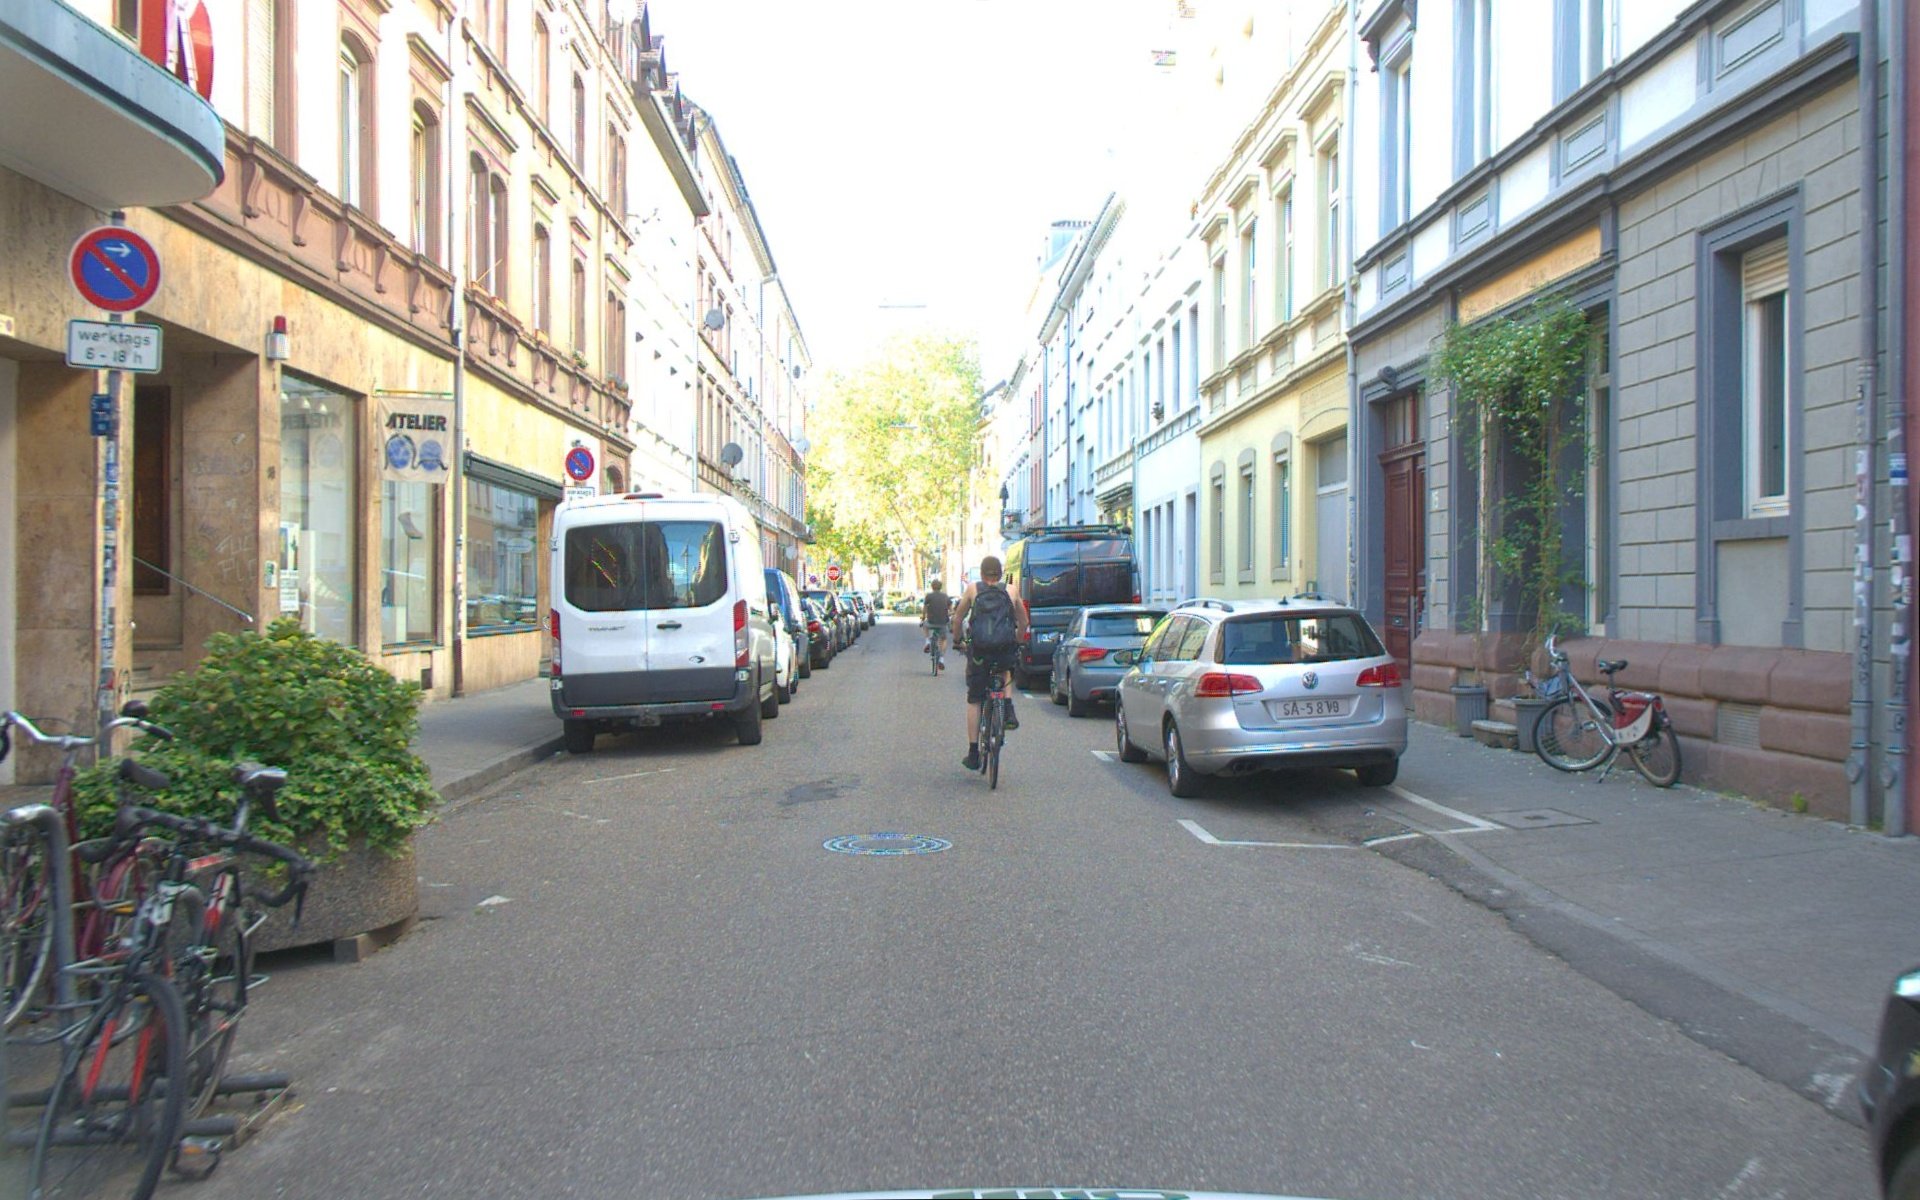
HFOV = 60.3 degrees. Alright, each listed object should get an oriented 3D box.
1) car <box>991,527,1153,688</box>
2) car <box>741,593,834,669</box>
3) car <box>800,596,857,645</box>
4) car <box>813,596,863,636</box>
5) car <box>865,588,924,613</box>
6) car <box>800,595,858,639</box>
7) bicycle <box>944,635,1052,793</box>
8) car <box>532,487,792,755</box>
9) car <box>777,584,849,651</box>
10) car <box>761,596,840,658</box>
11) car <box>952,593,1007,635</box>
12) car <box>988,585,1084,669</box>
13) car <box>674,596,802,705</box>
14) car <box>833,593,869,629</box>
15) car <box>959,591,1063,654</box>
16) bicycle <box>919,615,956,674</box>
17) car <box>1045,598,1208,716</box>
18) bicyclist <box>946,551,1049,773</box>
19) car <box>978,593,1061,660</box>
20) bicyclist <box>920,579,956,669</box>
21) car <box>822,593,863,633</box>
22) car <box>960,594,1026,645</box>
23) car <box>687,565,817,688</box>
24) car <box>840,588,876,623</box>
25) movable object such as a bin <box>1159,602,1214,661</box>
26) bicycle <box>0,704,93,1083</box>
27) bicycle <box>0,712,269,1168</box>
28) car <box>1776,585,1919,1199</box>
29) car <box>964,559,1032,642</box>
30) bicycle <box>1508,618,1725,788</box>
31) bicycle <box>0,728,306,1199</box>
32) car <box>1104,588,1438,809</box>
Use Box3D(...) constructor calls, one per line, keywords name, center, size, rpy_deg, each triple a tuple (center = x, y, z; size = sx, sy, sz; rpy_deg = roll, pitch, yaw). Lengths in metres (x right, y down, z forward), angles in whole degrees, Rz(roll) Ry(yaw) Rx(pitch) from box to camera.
Box3D(name="car", center=(1.823, 0.102, 29.168), size=(2.131, 2.467, 6.306), rpy_deg=(-2, 0, -2))
Box3D(name="car", center=(-3.697, 0.622, 36.073), size=(1.825, 1.465, 4.641), rpy_deg=(-1, 1, -4))
Box3D(name="car", center=(-4.117, 0.624, 52.062), size=(1.559, 1.465, 3.653), rpy_deg=(-1, 0, -1))
Box3D(name="car", center=(-4.532, 0.581, 62.086), size=(1.672, 1.438, 4.300), rpy_deg=(-1, 0, -2))
Box3D(name="car", center=(-5.013, 0.041, 125.833), size=(4.383, 1.790, 1.864), rpy_deg=(-1, 0, -7))
Box3D(name="car", center=(-4.478, 0.555, 57.027), size=(1.639, 1.455, 3.888), rpy_deg=(-1, 0, 0))
Box3D(name="bicycle", center=(0.276, 0.872, 13.366), size=(0.725, 1.120, 2.041), rpy_deg=(1, 0, -2))
Box3D(name="car", center=(-3.137, 0.182, 18.744), size=(2.125, 2.495, 5.918), rpy_deg=(-2, 0, -3))
Box3D(name="car", center=(-4.141, 0.476, 47.081), size=(1.765, 1.728, 3.998), rpy_deg=(-3, 0, -2))
Box3D(name="car", center=(-3.917, 0.632, 41.128), size=(1.701, 1.452, 3.999), rpy_deg=(-1, 0, -2))
Box3D(name="car", center=(0.705, 0.502, 62.192), size=(1.697, 1.496, 4.017), rpy_deg=(-1, 0, -5))
Box3D(name="car", center=(1.580, 0.537, 35.656), size=(1.660, 1.636, 4.373), rpy_deg=(-2, 0, -2))
Box3D(name="car", center=(-3.249, 0.690, 24.797), size=(1.613, 1.472, 3.837), rpy_deg=(-1, 0, -4))
Box3D(name="car", center=(-4.927, 0.463, 74.411), size=(1.514, 1.578, 3.461), rpy_deg=(-1, 0, -5))
Box3D(name="car", center=(1.323, 0.569, 45.185), size=(1.779, 1.503, 4.595), rpy_deg=(-4, 1, -11))
Box3D(name="bicycle", center=(-0.440, 0.834, 31.633), size=(0.650, 1.055, 1.958), rpy_deg=(-1, 0, -2))
Box3D(name="car", center=(2.198, 0.710, 22.873), size=(1.712, 1.469, 4.170), rpy_deg=(0, 0, -2))
Box3D(name="bicyclist", center=(0.287, 0.479, 13.356), size=(0.725, 1.708, 1.116), rpy_deg=(1, 0, -2))
Box3D(name="car", center=(1.399, 0.602, 40.402), size=(1.711, 1.511, 4.241), rpy_deg=(-1, 0, -2))
Box3D(name="bicyclist", center=(-0.421, 0.447, 31.669), size=(0.656, 1.687, 0.877), rpy_deg=(-1, 0, -2))
Box3D(name="car", center=(-4.753, 0.507, 67.039), size=(1.573, 1.556, 3.376), rpy_deg=(-2, 0, -4))
Box3D(name="car", center=(0.961, 0.569, 50.225), size=(1.691, 1.454, 3.830), rpy_deg=(-1, 0, -3))
Box3D(name="car", center=(-3.603, 0.428, 29.380), size=(1.791, 1.924, 4.612), rpy_deg=(-3, 0, -2))
Box3D(name="car", center=(-5.323, 0.281, 86.602), size=(1.752, 1.767, 3.874), rpy_deg=(-1, 0, -2))
Box3D(name="movable object such as a bin", center=(4.312, 0.598, 31.541), size=(0.846, 1.060, 0.707), rpy_deg=(-3, 0, -4))
Box3D(name="bicycle", center=(-3.317, 0.985, 5.239), size=(0.391, 1.194, 1.667), rpy_deg=(1, 0, -6))
Box3D(name="bicycle", center=(-2.743, 0.962, 5.290), size=(0.433, 1.066, 1.863), rpy_deg=(1, 0, -6))
Box3D(name="car", center=(2.689, 0.732, 2.036), size=(1.569, 1.566, 3.449), rpy_deg=(-3, 0, -1))
Box3D(name="car", center=(1.215, -0.002, 55.680), size=(2.159, 2.595, 6.036), rpy_deg=(-1, 0, 0))
Box3D(name="bicycle", center=(4.824, 0.718, 12.301), size=(0.696, 1.116, 1.899), rpy_deg=(-3, 0, -4))
Box3D(name="bicycle", center=(-2.006, 0.936, 4.254), size=(0.453, 1.066, 1.741), rpy_deg=(1, 0, -17))
Box3D(name="car", center=(2.429, 0.696, 14.124), size=(1.751, 1.479, 4.545), rpy_deg=(-3, 0, -3))
